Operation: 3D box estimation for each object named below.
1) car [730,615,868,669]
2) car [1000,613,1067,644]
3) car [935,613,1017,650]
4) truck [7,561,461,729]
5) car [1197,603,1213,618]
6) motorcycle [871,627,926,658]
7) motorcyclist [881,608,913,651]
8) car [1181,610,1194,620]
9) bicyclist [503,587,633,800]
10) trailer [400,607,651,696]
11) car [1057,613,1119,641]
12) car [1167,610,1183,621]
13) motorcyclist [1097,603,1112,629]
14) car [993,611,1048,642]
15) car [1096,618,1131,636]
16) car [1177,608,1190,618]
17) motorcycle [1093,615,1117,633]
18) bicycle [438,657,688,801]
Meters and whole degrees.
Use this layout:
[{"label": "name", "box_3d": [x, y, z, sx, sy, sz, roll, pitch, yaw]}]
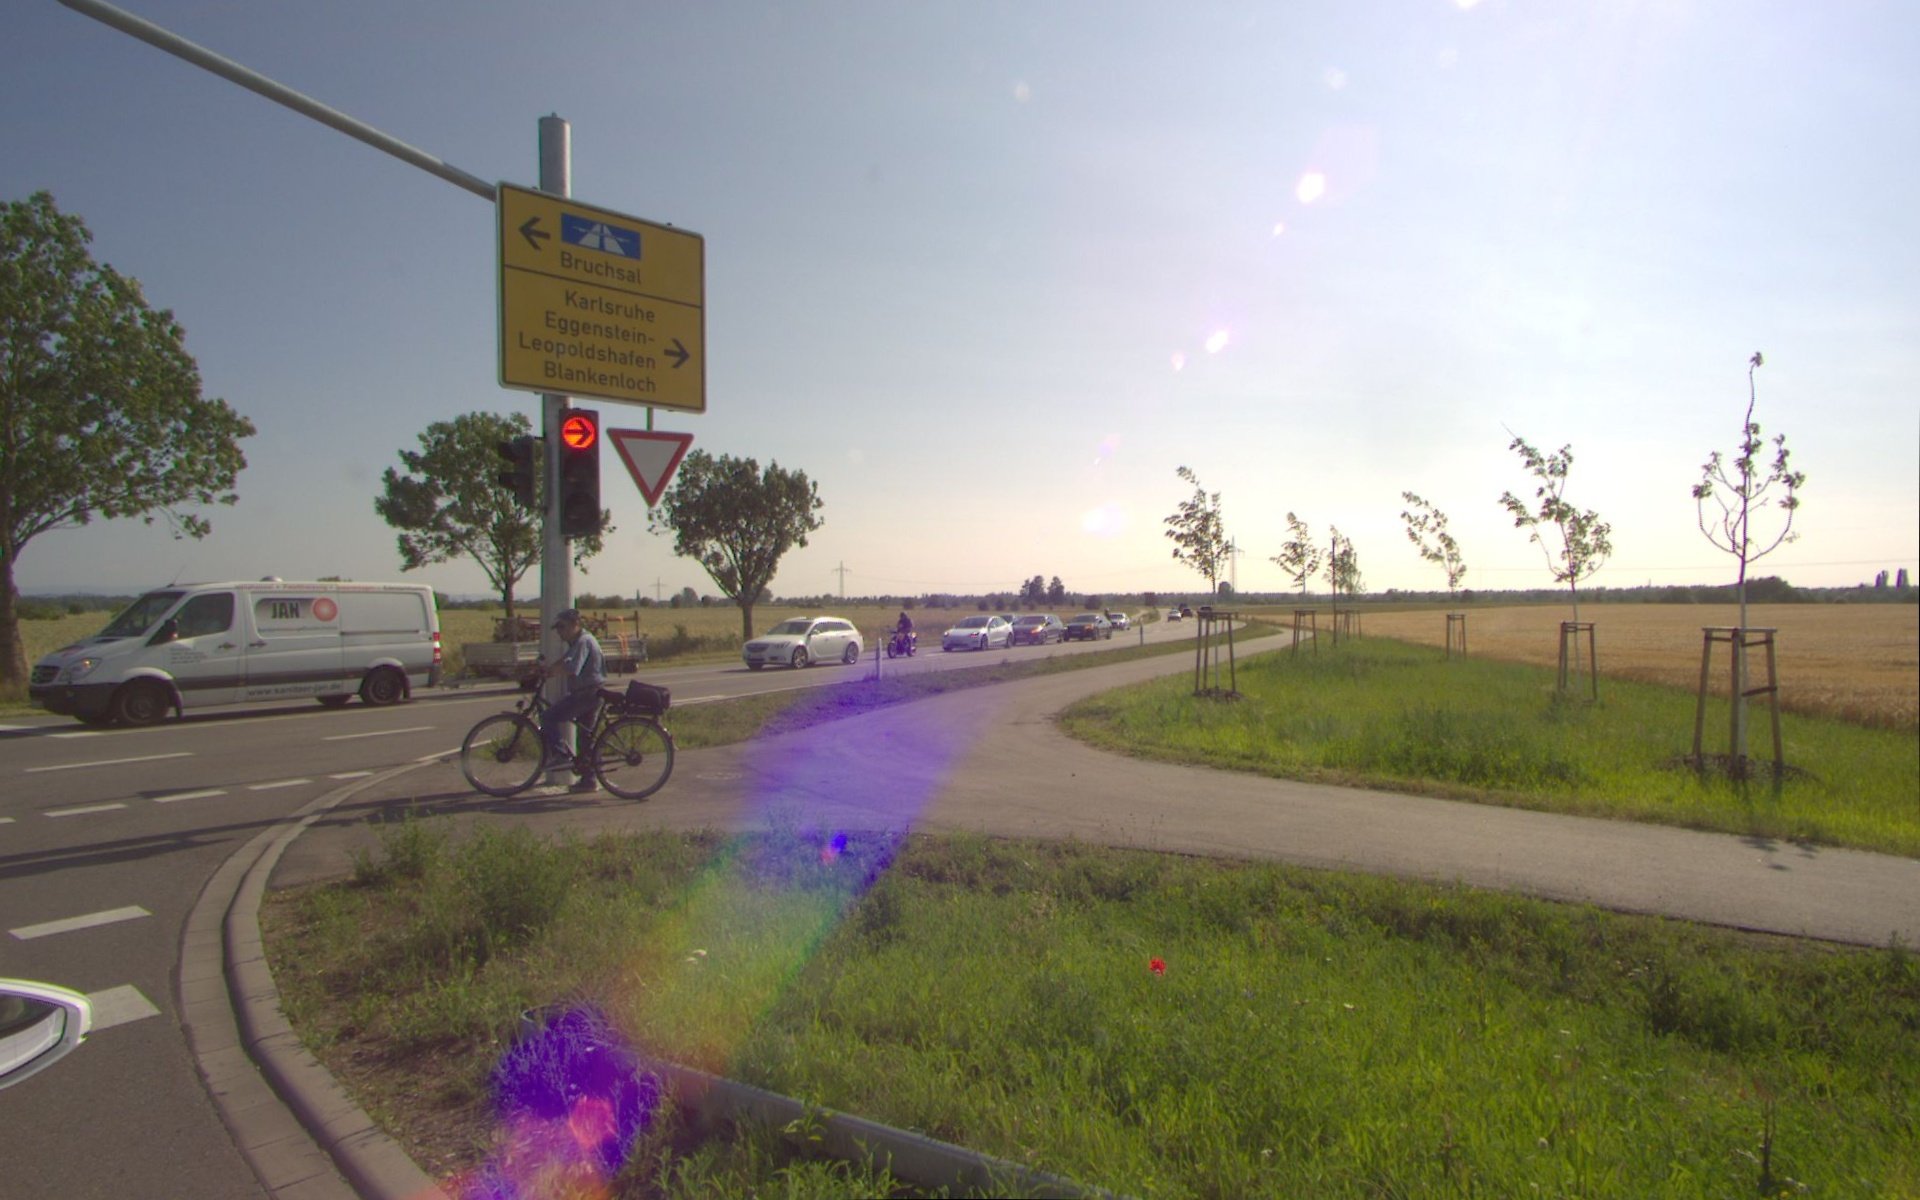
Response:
[{"label": "car", "box_3d": [-4.848, 1.243, 30.873, 1.738, 1.511, 4.690, -1, -1, 27]}, {"label": "car", "box_3d": [3.680, 1.367, 49.186, 1.866, 1.480, 4.292, -1, -1, 25]}, {"label": "car", "box_3d": [0.750, 1.320, 42.868, 1.866, 1.485, 4.261, -2, -1, 25]}, {"label": "truck", "box_3d": [-12.349, 0.699, 17.678, 2.042, 2.436, 6.167, -1, -1, 32]}, {"label": "car", "box_3d": [31.360, 1.367, 127.928, 1.812, 1.858, 4.462, 1, 0, 15]}, {"label": "motorcycle", "box_3d": [-2.231, 1.531, 36.698, 0.885, 1.057, 2.419, -1, 0, 26]}, {"label": "motorcyclist", "box_3d": [-2.306, 1.068, 36.682, 0.670, 1.535, 1.176, -1, 0, 27]}, {"label": "car", "box_3d": [38.704, 2.620, 170.609, 1.941, 1.703, 4.105, -1, -1, 9]}, {"label": "bicyclist", "box_3d": [-3.439, 0.819, 8.857, 0.901, 1.787, 0.619, 3, -2, -13]}, {"label": "trailer", "box_3d": [-9.564, 1.065, 22.526, 1.952, 1.760, 4.989, -2, -1, 30]}, {"label": "car", "box_3d": [7.147, 1.454, 55.478, 1.866, 1.455, 4.779, -1, -1, 27]}, {"label": "car", "box_3d": [27.867, 2.036, 129.732, 1.661, 1.421, 3.995, -2, -1, 16]}, {"label": "motorcyclist", "box_3d": [8.736, 0.961, 60.345, 0.669, 1.515, 0.844, -1, 0, 25]}, {"label": "car", "box_3d": [3.553, 1.524, 58.134, 1.860, 1.646, 3.987, -3, -2, 25]}, {"label": "car", "box_3d": [12.588, 2.194, 81.807, 1.608, 1.394, 4.407, -3, -2, 25]}, {"label": "car", "box_3d": [46.117, 2.756, 206.591, 2.022, 2.039, 4.001, 0, -2, 6]}, {"label": "motorcycle", "box_3d": [8.751, 1.445, 60.406, 0.859, 1.087, 1.962, -1, -1, 25]}, {"label": "bicycle", "box_3d": [-3.433, 1.133, 8.836, 1.910, 1.165, 0.681, 3, -2, -13]}]
